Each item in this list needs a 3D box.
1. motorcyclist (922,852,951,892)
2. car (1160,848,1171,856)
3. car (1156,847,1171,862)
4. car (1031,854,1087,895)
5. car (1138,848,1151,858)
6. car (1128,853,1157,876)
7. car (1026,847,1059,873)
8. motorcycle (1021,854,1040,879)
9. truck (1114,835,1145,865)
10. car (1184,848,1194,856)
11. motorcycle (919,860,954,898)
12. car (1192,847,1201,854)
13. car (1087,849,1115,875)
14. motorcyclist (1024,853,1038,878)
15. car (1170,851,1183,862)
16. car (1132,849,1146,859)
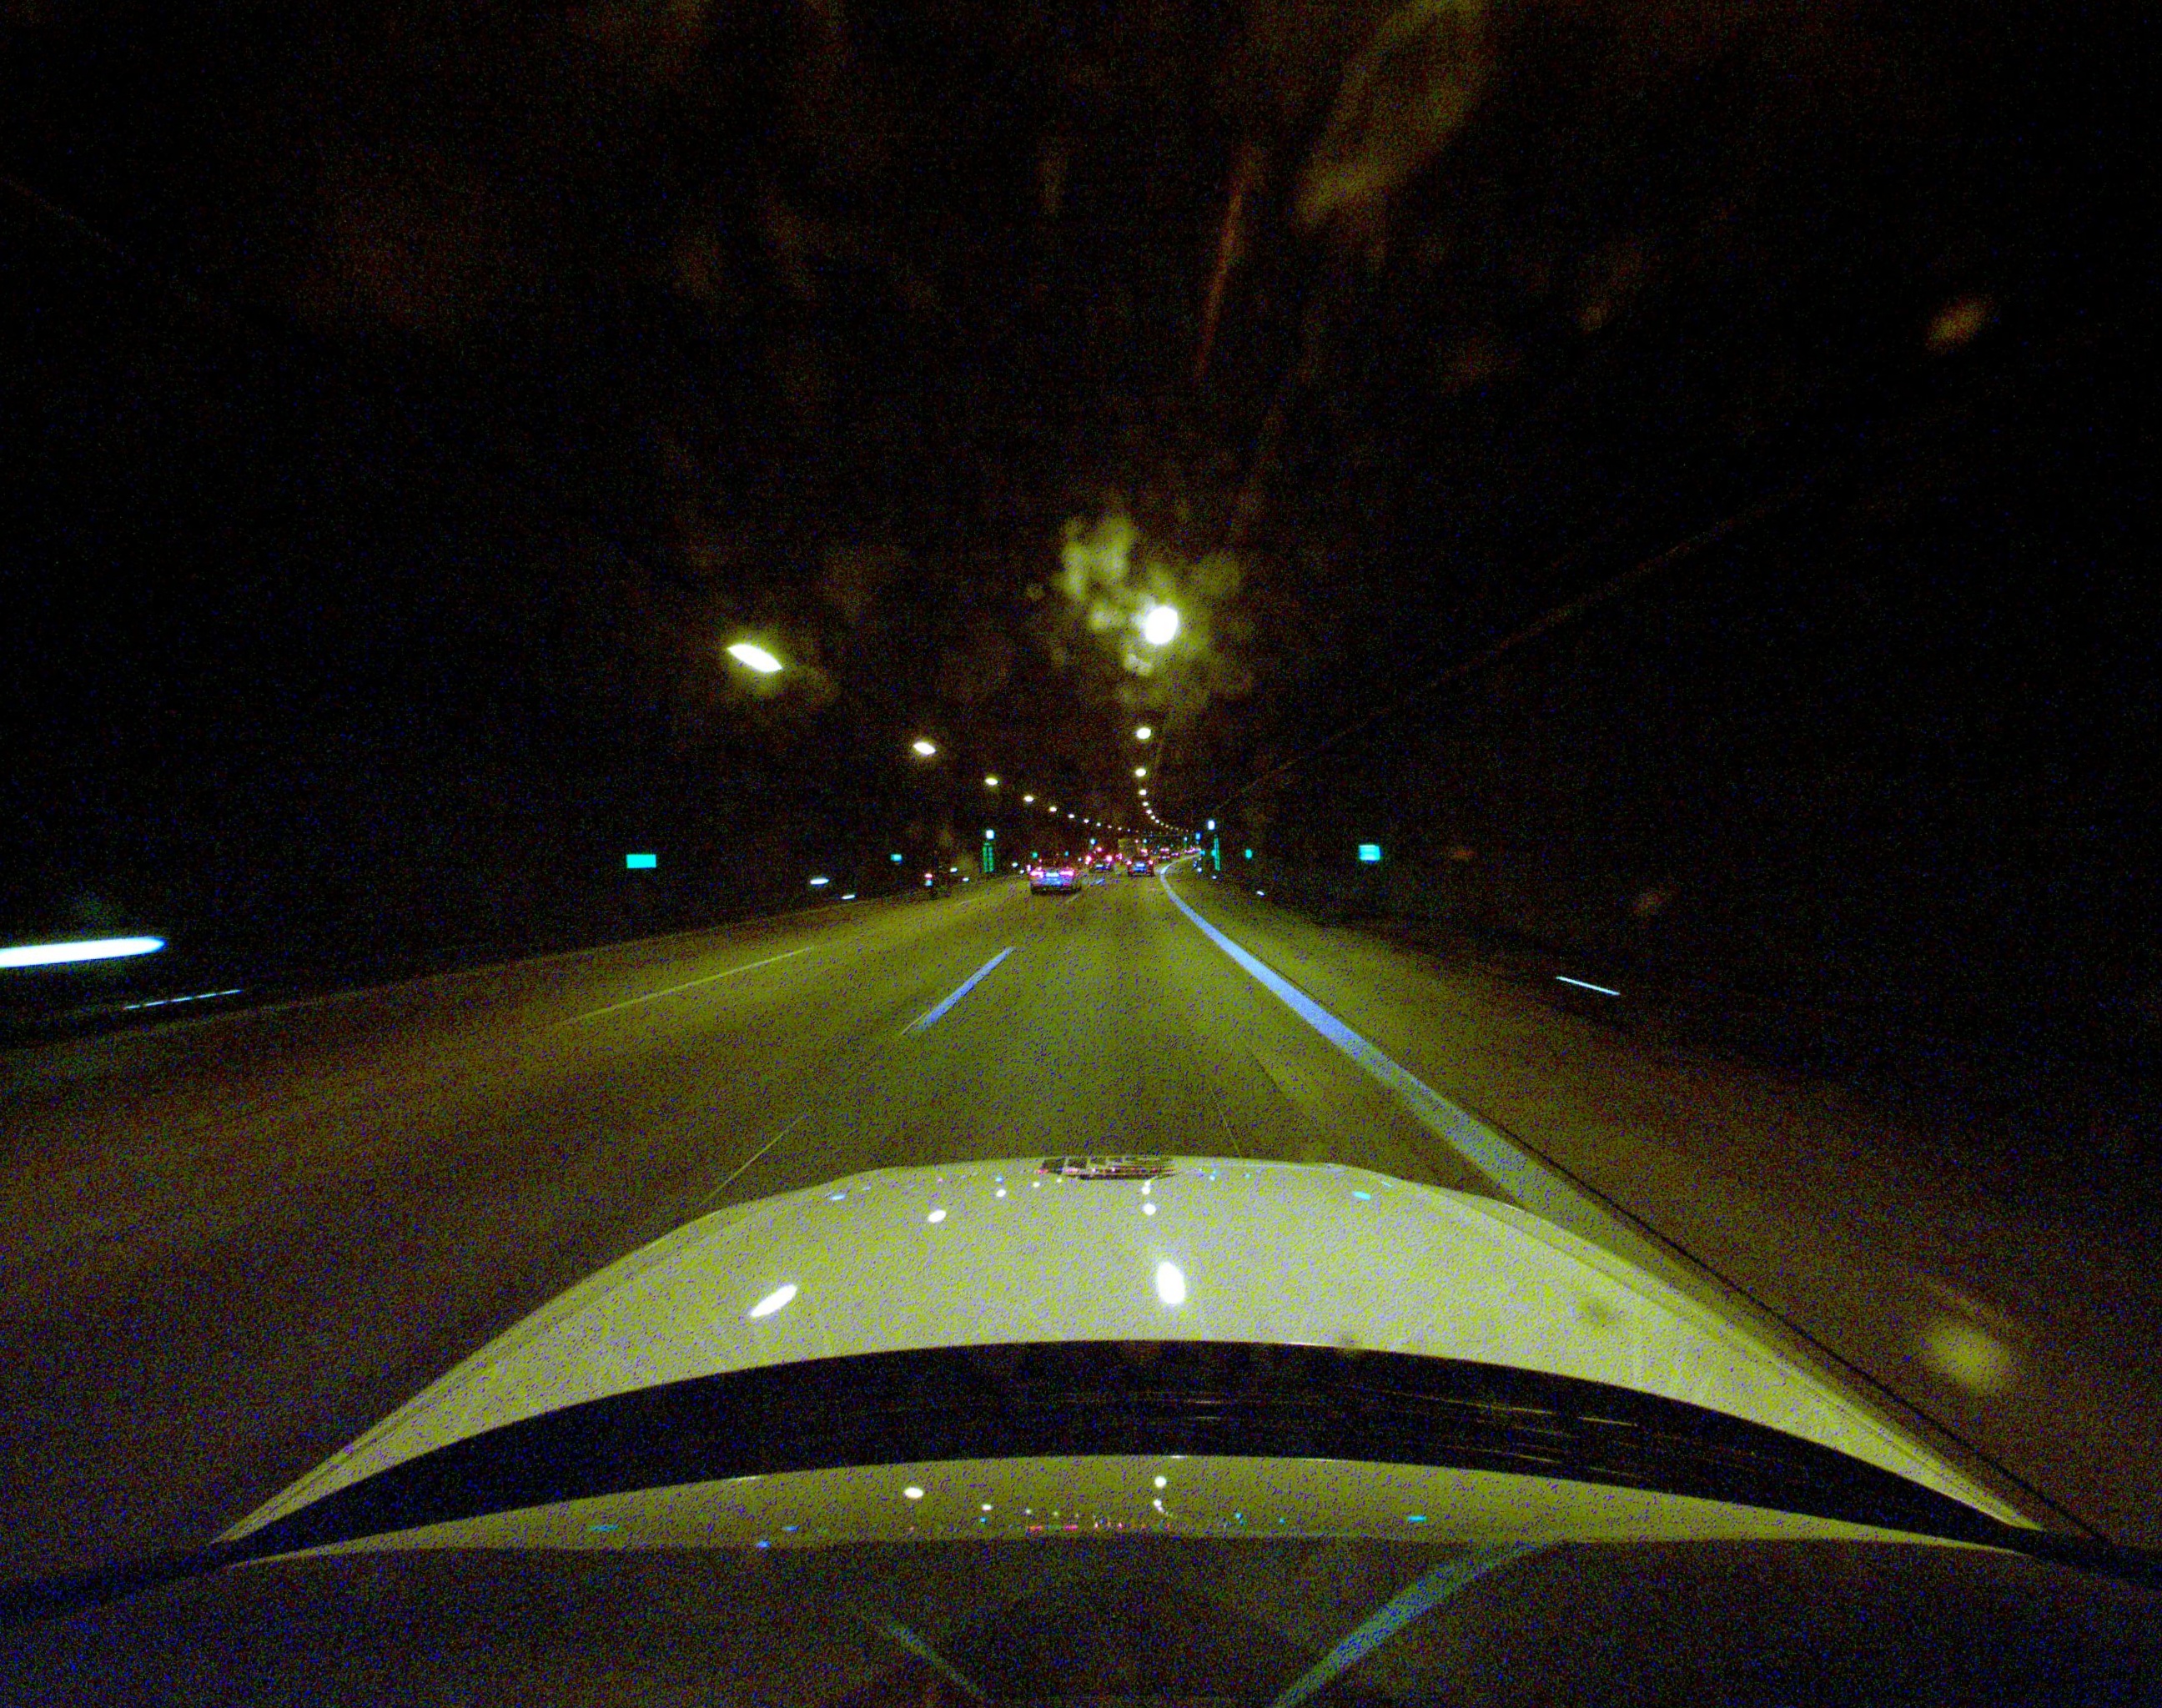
[{"bbox_3d":[-5.259,0.650,29.610,0.773,1.452,1.070,0,-1,5],"label":"motorcyclist"},{"bbox_3d":[19.074,-0.491,183.562,1.916,1.642,4.016,0,-1,15],"label":"car"},{"bbox_3d":[10.998,0.076,108.797,1.848,1.854,4.006,-1,0,5],"label":"car"},{"bbox_3d":[-0.812,0.779,33.436,1.694,1.419,5.067,-1,1,5],"label":"car"},{"bbox_3d":[11.696,-0.200,149.798,1.919,1.642,4.011,-1,0,9],"label":"car"},{"bbox_3d":[4.215,0.726,55.451,1.733,1.464,3.879,0,-1,7],"label":"car"},{"bbox_3d":[-2.991,0.454,63.951,1.983,2.013,4.007,-1,0,6],"label":"car"},{"bbox_3d":[-3.056,0.736,49.382,0.925,1.434,2.956,1,0,-8],"label":"motorcycle"},{"bbox_3d":[6.277,-0.446,104.224,3.021,3.673,7.412,-1,0,10],"label":"truck"},{"bbox_3d":[22.862,-0.398,172.736,1.918,1.642,4.012,0,-1,11],"label":"car"},{"bbox_3d":[-5.240,0.886,29.647,0.680,1.297,2.401,0,0,4],"label":"motorcycle"},{"bbox_3d":[27.387,-0.820,193.151,1.981,1.632,4.012,0,-1,11],"label":"car"},{"bbox_3d":[1.712,0.625,67.260,1.899,1.944,3.880,-1,2,7],"label":"car"},{"bbox_3d":[-3.047,0.691,49.461,0.805,1.448,1.861,0,-1,-6],"label":"motorcyclist"},{"bbox_3d":[16.074,0.407,137.116,1.939,1.772,4.009,0,-1,9],"label":"car"},{"bbox_3d":[9.668,-0.073,136.009,1.981,1.631,4.011,0,0,10],"label":"car"}]
